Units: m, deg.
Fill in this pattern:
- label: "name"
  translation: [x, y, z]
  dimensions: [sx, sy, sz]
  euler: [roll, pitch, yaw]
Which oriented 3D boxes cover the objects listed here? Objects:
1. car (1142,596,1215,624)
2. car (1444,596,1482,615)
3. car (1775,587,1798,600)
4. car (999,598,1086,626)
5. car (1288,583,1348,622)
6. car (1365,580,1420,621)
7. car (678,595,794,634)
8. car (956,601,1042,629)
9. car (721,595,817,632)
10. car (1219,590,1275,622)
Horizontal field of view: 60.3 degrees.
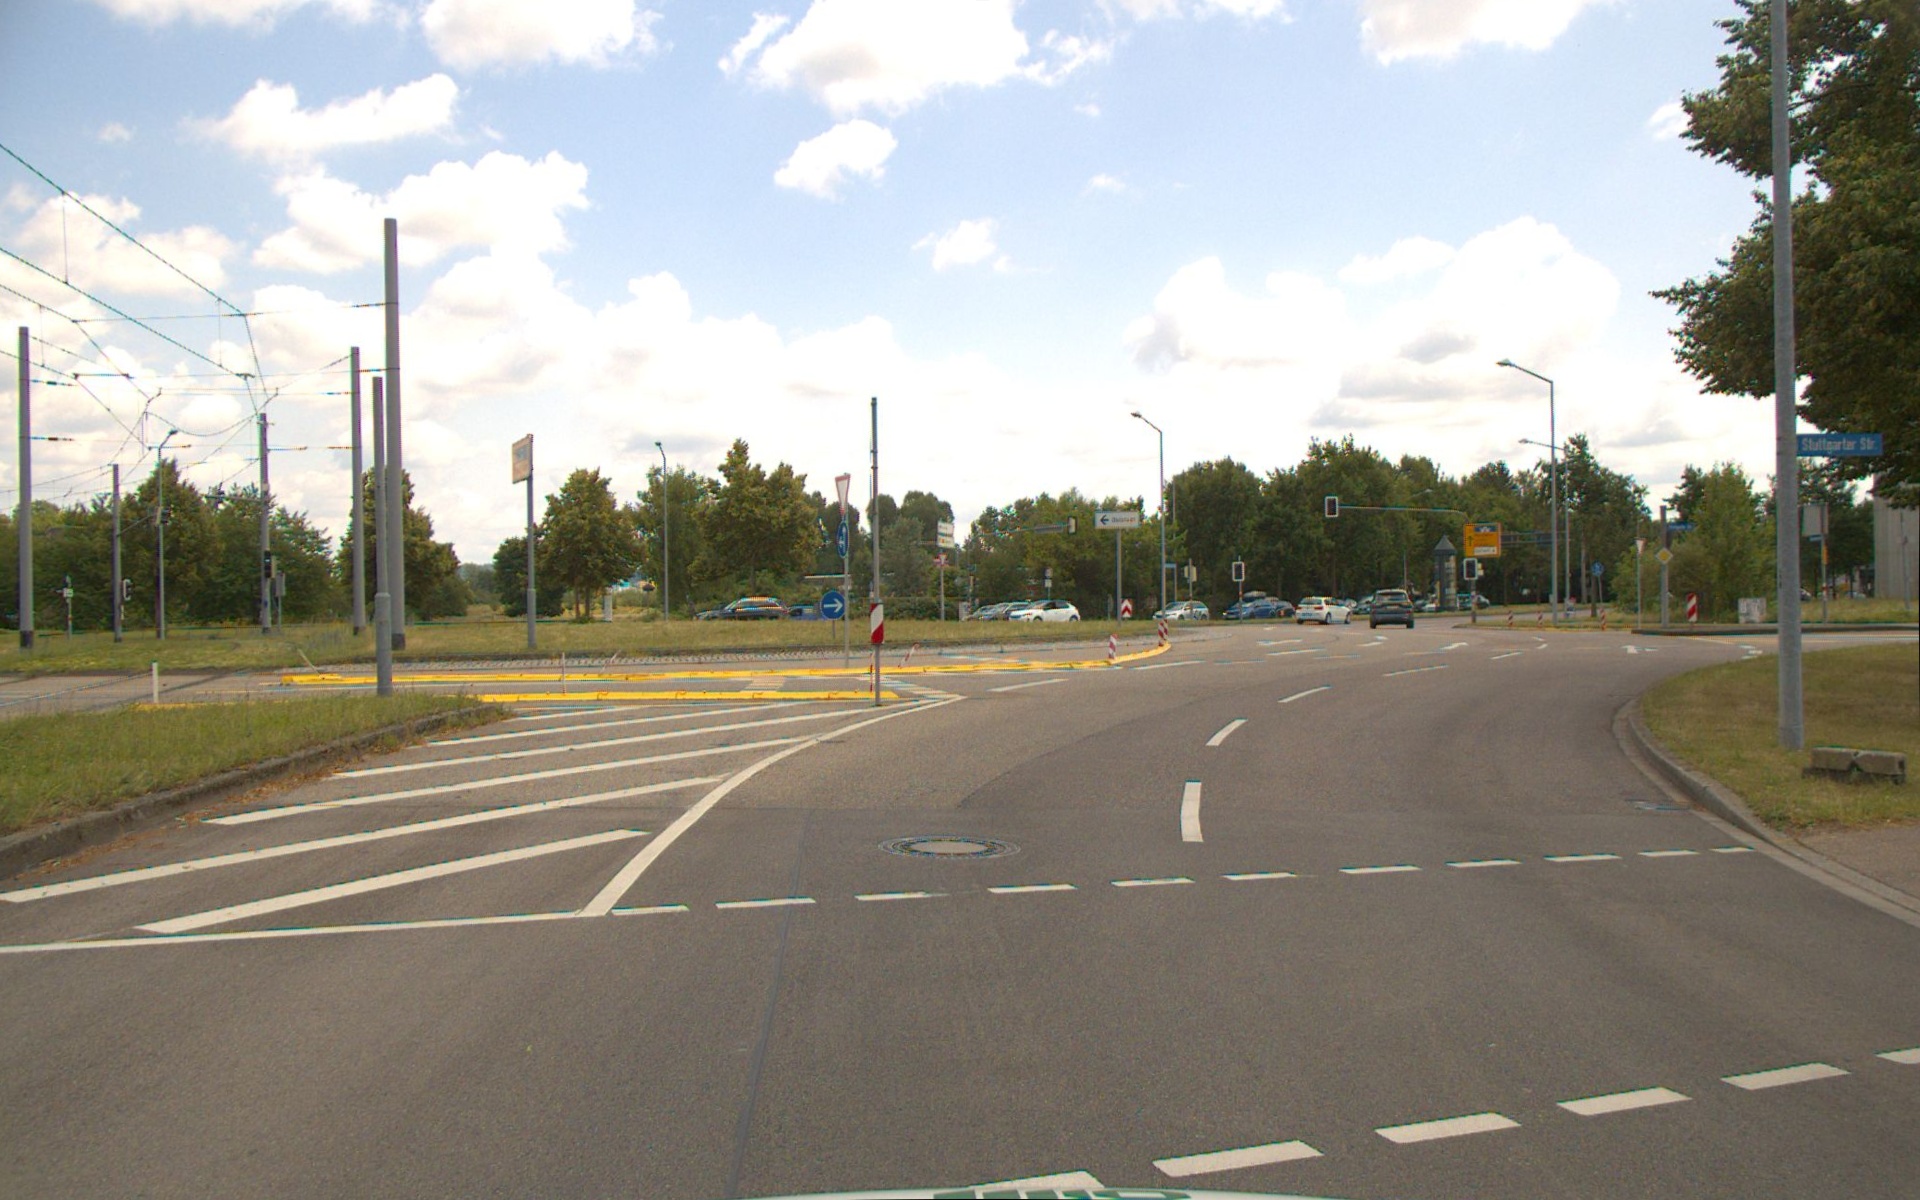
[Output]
- label: "car"
  translation: [13.014, 0.607, 98.431]
  dimensions: [2.087, 1.548, 4.479]
  euler: [-1, 1, 43]
- label: "car"
  translation: [41.500, 0.470, 136.376]
  dimensions: [1.810, 1.512, 3.851]
  euler: [1, 0, 37]
- label: "car"
  translation: [100.876, -0.760, 201.878]
  dimensions: [1.809, 1.512, 3.851]
  euler: [-1, 0, 37]
- label: "car"
  translation: [4.214, 0.608, 84.245]
  dimensions: [4.271, 1.353, 1.971]
  euler: [-1, 0, -40]
- label: "car"
  translation: [19.173, 0.116, 88.430]
  dimensions: [1.957, 2.049, 3.991]
  euler: [-1, 0, 31]
- label: "car"
  translation: [18.740, 0.020, 71.551]
  dimensions: [1.952, 1.654, 4.311]
  euler: [-2, 0, 19]
- label: "car"
  translation: [-10.421, 0.650, 77.165]
  dimensions: [5.004, 1.704, 1.979]
  euler: [-1, 0, -32]
- label: "car"
  translation: [2.094, 0.786, 88.105]
  dimensions: [4.452, 1.346, 1.925]
  euler: [-1, 1, -42]
- label: "car"
  translation: [-9.945, 0.686, 86.050]
  dimensions: [4.640, 1.822, 1.838]
  euler: [-1, 0, -20]
- label: "car"
  translation: [17.148, 0.342, 98.565]
  dimensions: [1.719, 1.830, 4.396]
  euler: [-1, 0, 33]
